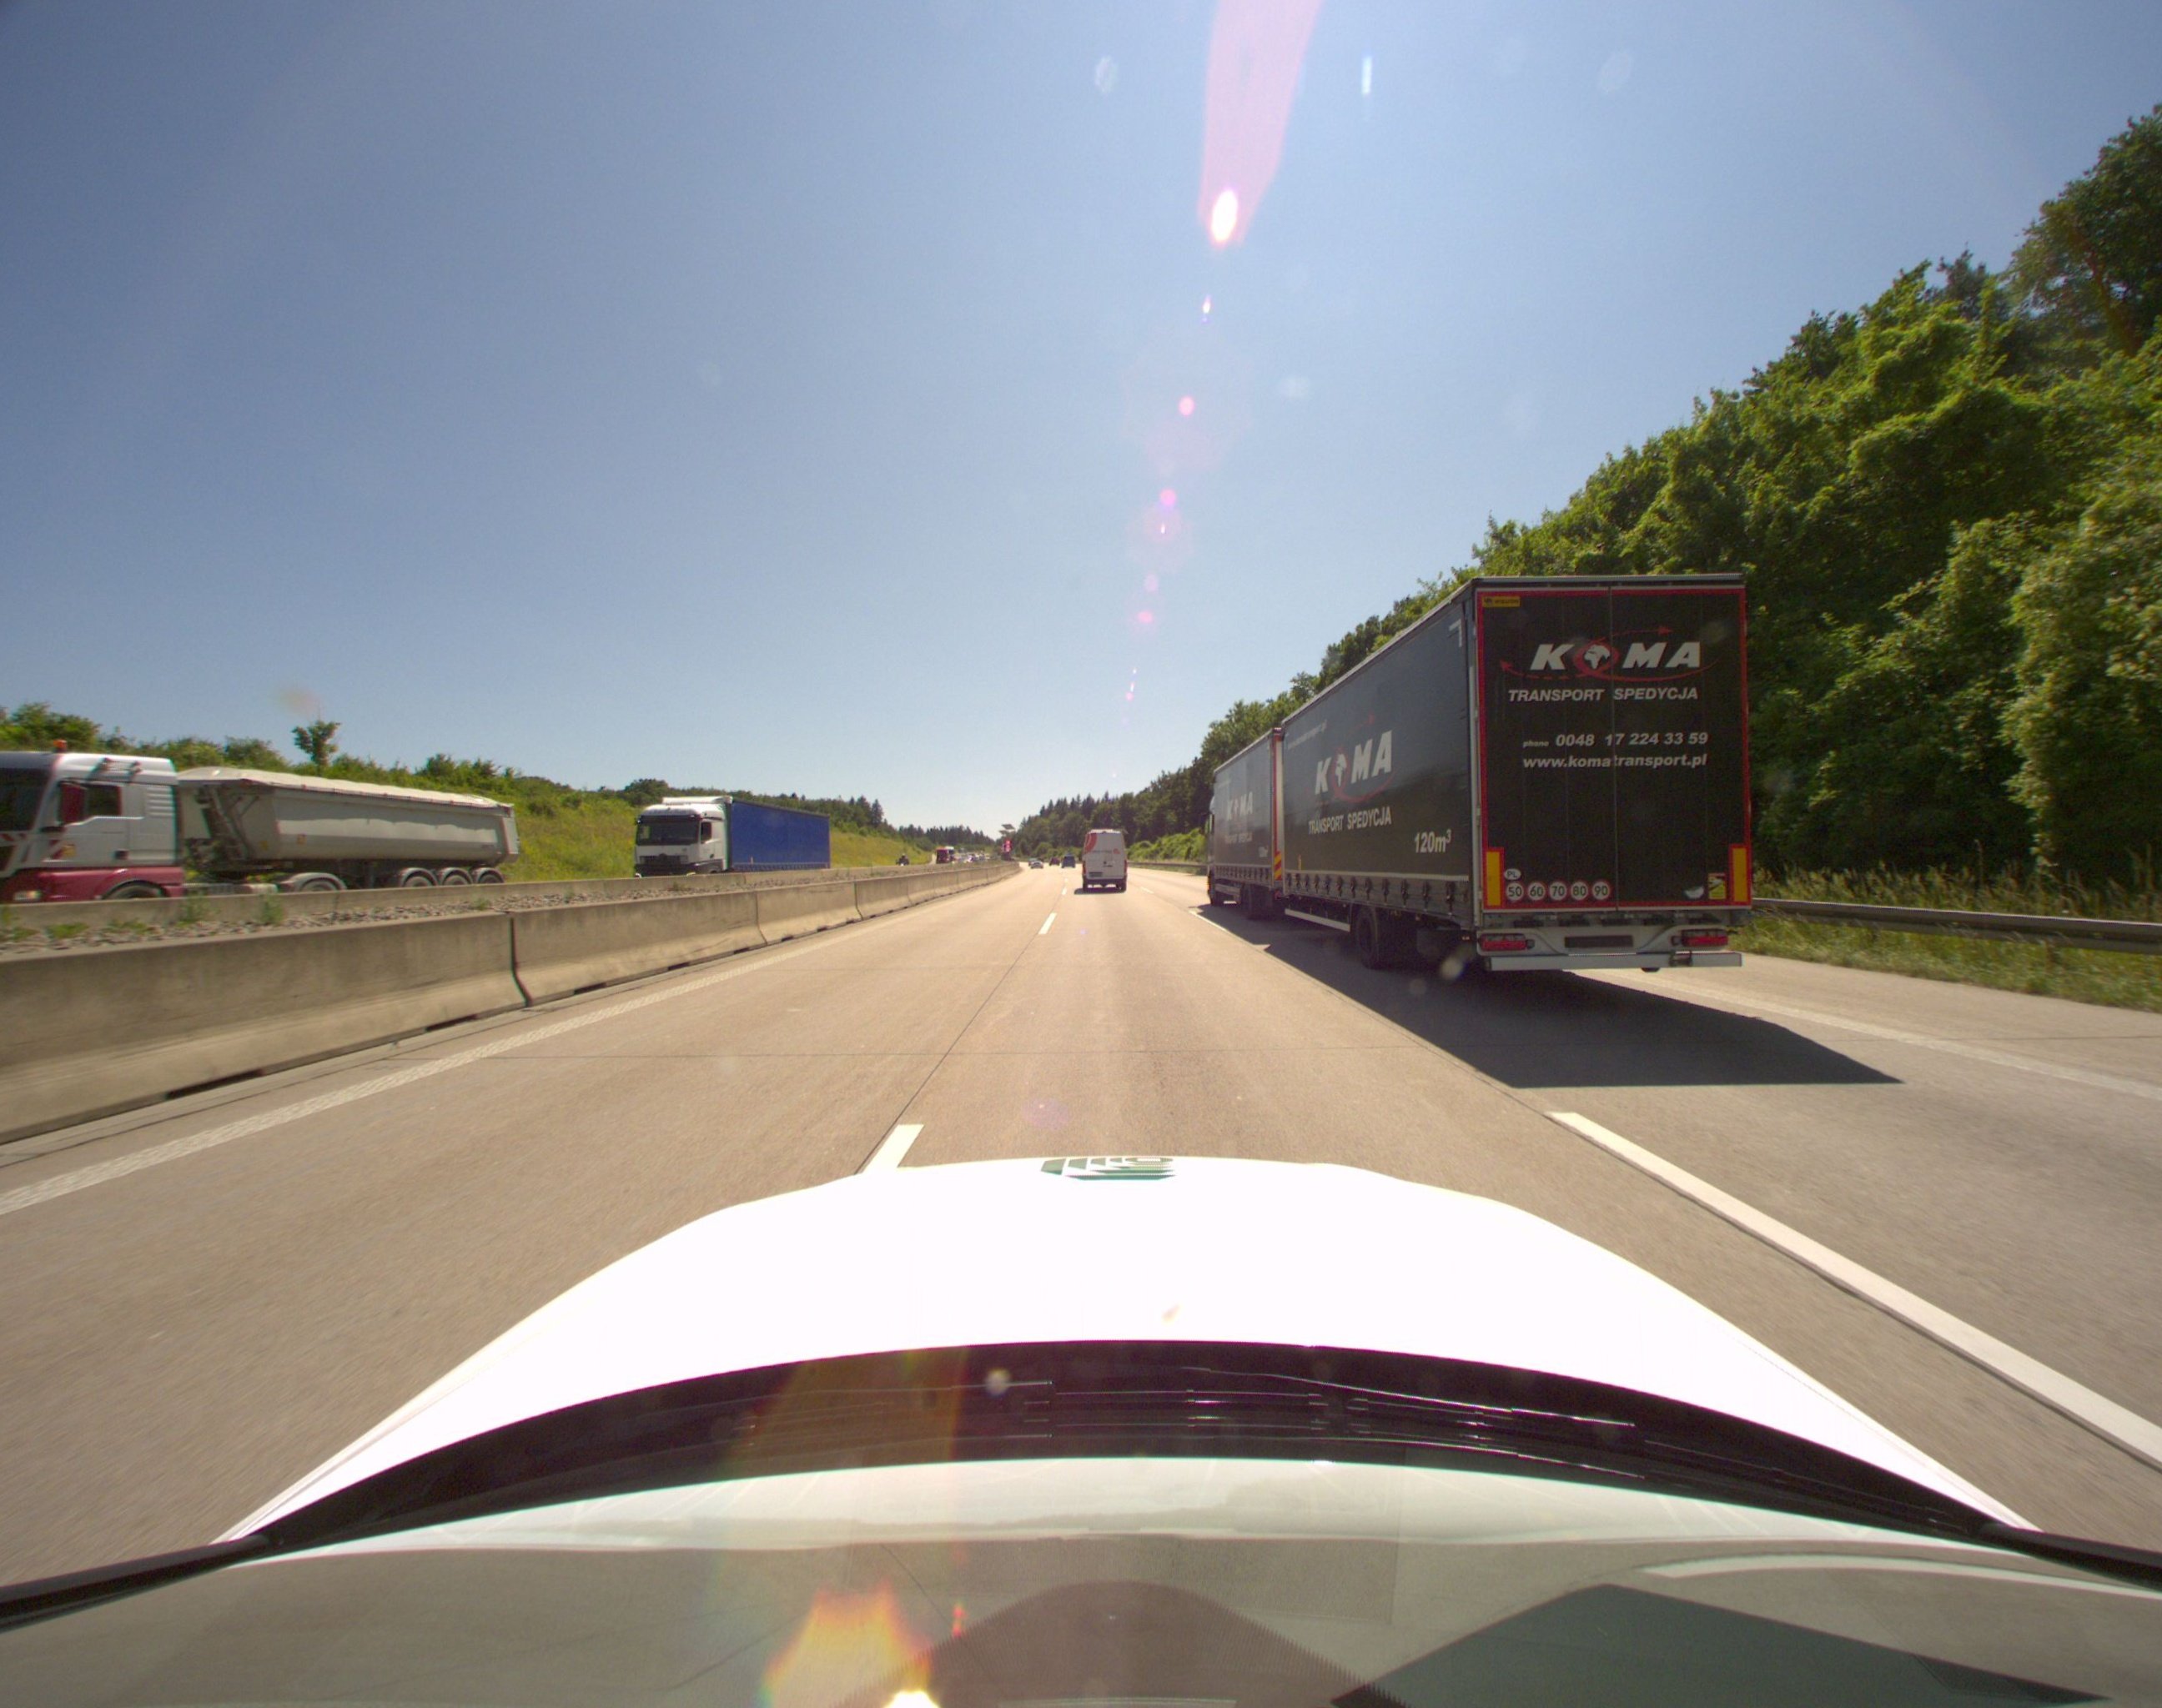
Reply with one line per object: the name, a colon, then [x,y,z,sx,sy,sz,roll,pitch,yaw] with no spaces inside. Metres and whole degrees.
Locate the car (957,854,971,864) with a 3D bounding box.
car: [-20.814,0.921,144.980,1.990,1.772,3.994,-1,0,-4]

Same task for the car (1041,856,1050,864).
car: [-8.338,1.412,191.685,1.991,1.684,3.991,2,-1,-6]

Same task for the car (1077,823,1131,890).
car: [0.968,0.107,37.586,2.220,2.844,5.451,0,0,-1]

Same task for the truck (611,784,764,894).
truck: [-15.446,-0.499,32.554,3.151,3.932,5.834,1,-1,-1]

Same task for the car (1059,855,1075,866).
car: [-2.139,0.981,121.198,1.991,1.684,3.991,2,-1,-6]

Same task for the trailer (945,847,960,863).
trailer: [-34.074,0.340,216.658,2.930,4.169,14.356,2,-1,-6]

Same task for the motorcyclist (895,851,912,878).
motorcyclist: [-12.418,0.754,56.985,0.816,1.873,1.492,0,0,0]

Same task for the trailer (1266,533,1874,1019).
trailer: [5.089,-0.634,11.316,3.123,4.017,9.089,0,0,1]

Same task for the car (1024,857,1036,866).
car: [-9.957,1.484,158.847,1.991,1.684,3.991,2,-1,-6]

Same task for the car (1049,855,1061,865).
car: [-5.011,1.157,155.278,1.991,1.684,3.991,2,-1,-6]

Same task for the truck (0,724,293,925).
truck: [-19.264,-0.497,16.133,2.715,3.413,4.513,1,-1,1]

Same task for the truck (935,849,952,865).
truck: [-28.509,0.628,169.030,2.928,3.215,5.895,2,-1,-5]

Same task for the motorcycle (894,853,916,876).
motorcycle: [-12.314,0.713,57.136,1.004,1.549,2.483,0,0,0]

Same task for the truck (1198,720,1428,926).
truck: [5.288,-0.586,21.230,3.148,4.017,10.609,0,0,1]

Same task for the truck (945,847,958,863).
truck: [-33.334,0.272,209.610,2.930,4.169,5.748,2,-1,-6]

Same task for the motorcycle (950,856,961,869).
motorcycle: [-13.814,0.910,89.396,0.822,1.372,2.357,0,0,0]

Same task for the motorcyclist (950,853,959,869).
motorcyclist: [-13.854,0.726,89.277,0.690,1.709,1.525,0,0,0]

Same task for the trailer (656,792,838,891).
trailer: [-15.503,-0.416,39.723,3.151,3.932,13.861,1,-1,0]

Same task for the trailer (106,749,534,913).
trailer: [-19.132,-0.421,21.735,2.715,3.413,8.957,1,-1,1]

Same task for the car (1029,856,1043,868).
car: [-6.648,1.164,120.096,1.990,1.684,3.994,2,-1,-4]
